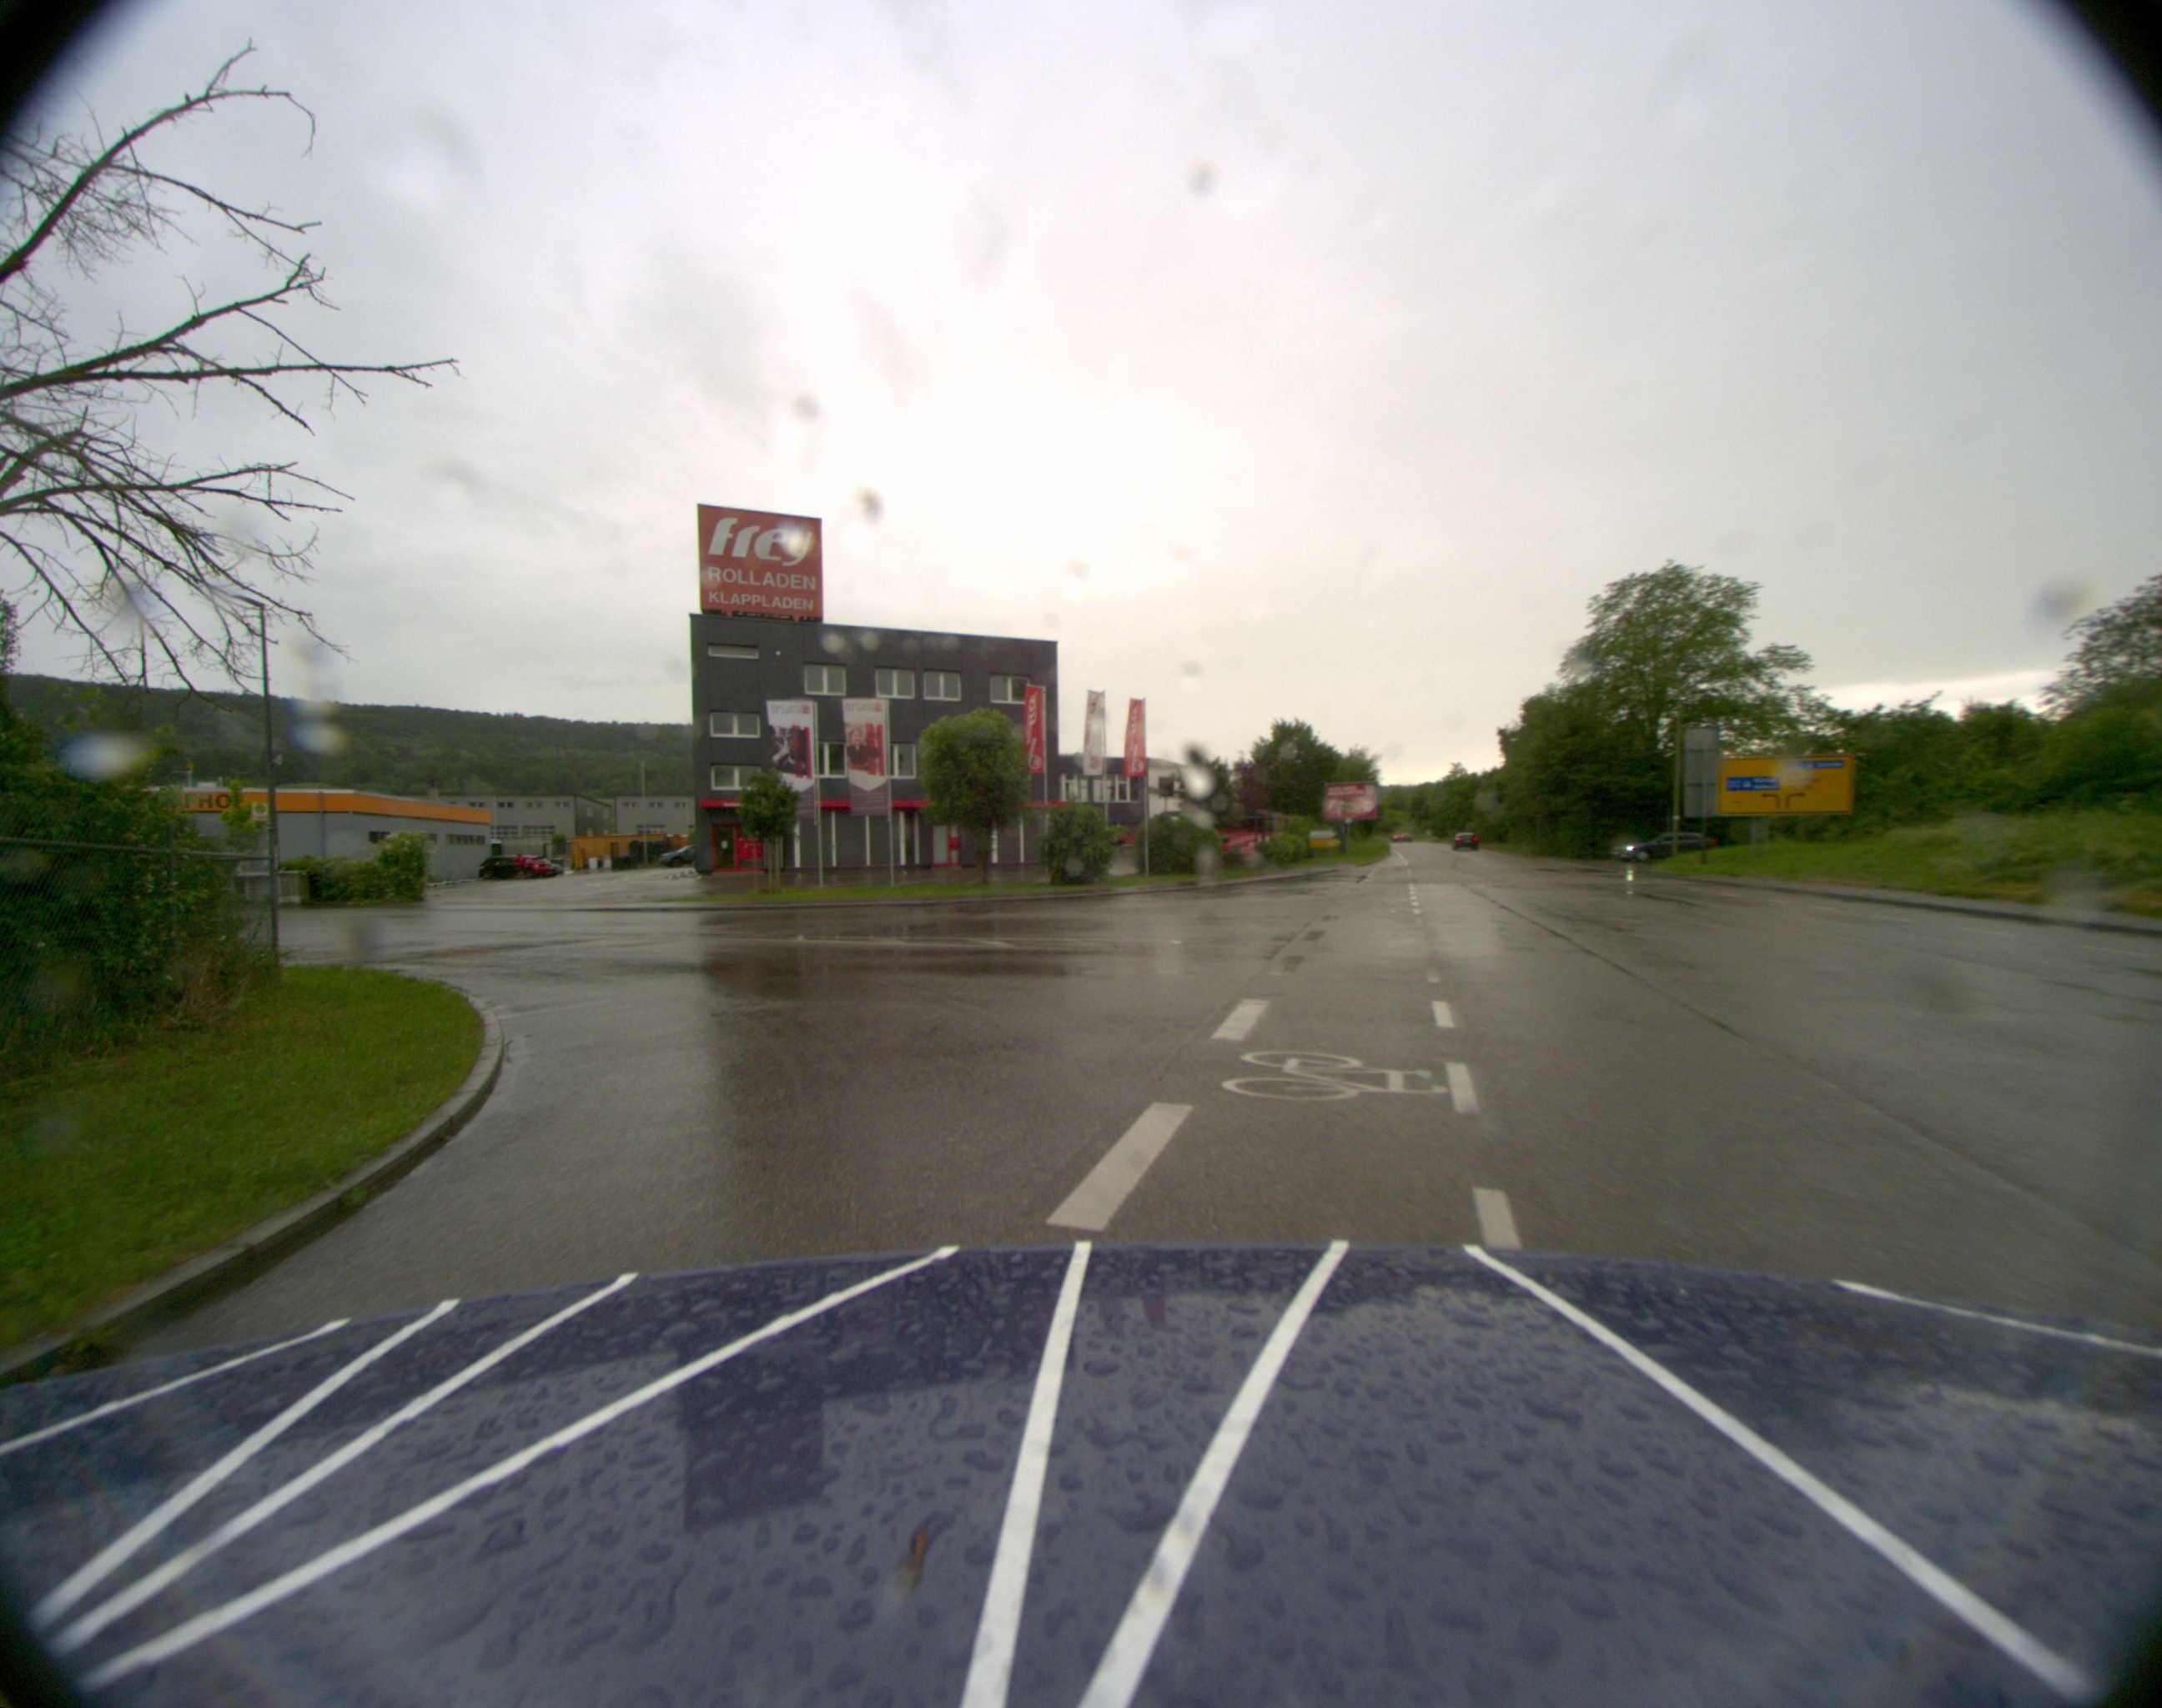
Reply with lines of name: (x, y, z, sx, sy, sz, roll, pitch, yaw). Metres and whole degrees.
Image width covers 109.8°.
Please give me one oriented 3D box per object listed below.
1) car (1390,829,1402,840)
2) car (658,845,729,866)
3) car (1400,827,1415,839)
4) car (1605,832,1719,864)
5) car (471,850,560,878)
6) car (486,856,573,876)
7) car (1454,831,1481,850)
car: (60.048, -3.783, 145.001, 1.806, 2.003, 4.004, -1, 3, 19)
car: (-28.097, 0.071, 55.175, 4.204, 1.379, 1.994, -2, 1, -41)
car: (55.003, -3.564, 127.943, 1.996, 2.003, 4.004, -1, 3, 19)
car: (28.993, -0.293, 38.037, 4.114, 1.481, 1.858, -1, 1, 9)
car: (-35.376, 0.619, 47.620, 3.998, 1.566, 1.923, -2, 1, -2)
car: (-36.283, 0.761, 50.070, 4.196, 1.154, 1.931, -2, 1, -9)
car: (32.717, -1.186, 64.442, 1.831, 1.515, 4.006, -1, 1, 24)
